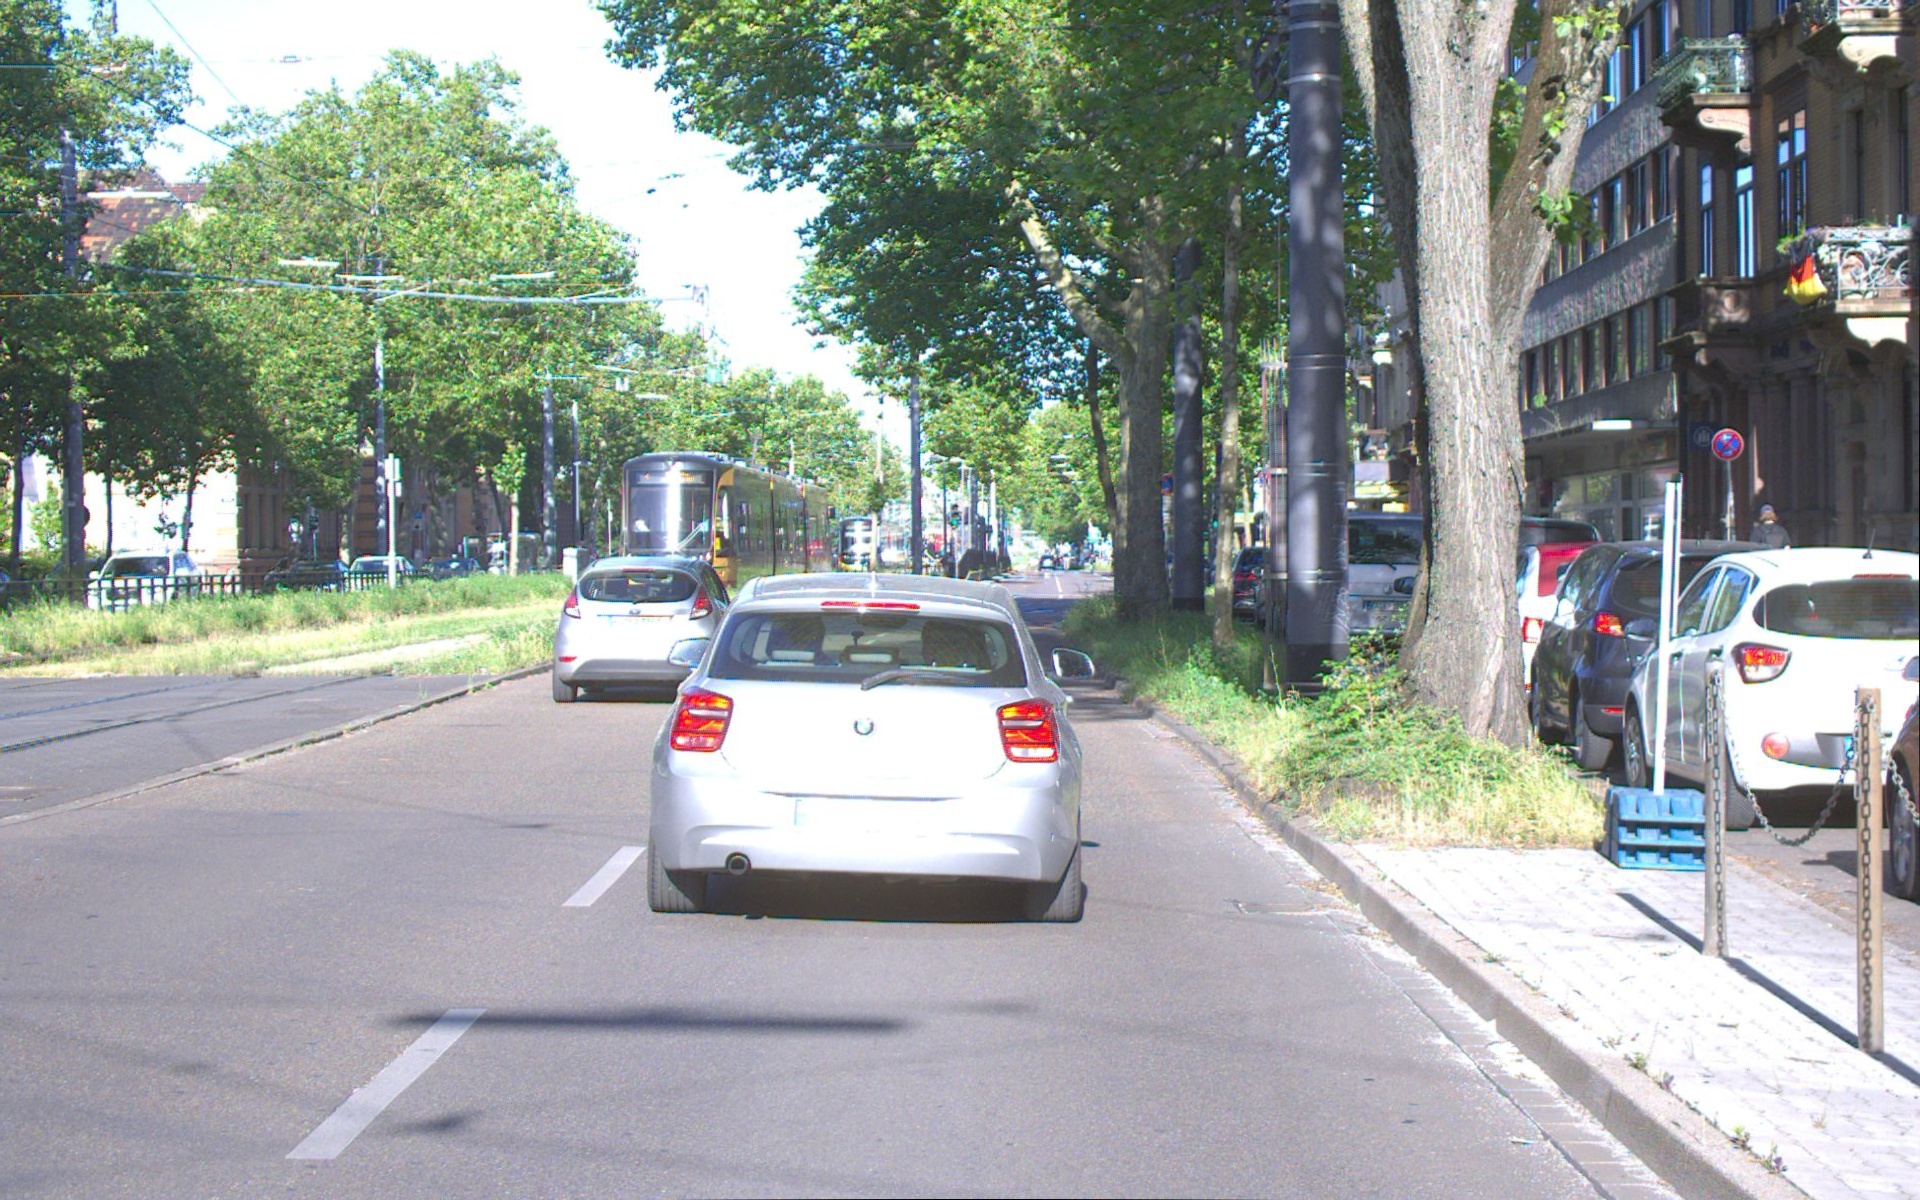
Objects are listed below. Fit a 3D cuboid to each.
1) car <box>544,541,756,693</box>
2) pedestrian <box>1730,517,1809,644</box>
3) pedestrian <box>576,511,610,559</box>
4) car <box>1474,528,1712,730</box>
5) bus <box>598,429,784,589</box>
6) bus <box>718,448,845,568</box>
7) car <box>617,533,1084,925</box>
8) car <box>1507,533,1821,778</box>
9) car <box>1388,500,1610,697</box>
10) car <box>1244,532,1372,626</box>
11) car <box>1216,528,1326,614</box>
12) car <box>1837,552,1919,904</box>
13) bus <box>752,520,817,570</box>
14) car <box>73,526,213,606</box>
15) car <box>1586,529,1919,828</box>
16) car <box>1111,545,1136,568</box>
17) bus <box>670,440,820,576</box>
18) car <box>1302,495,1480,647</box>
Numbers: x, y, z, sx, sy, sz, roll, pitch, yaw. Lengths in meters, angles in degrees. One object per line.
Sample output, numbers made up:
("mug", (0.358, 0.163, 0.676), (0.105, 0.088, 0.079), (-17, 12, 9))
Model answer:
("car", (-3.082, 0.130, 34.802), (1.647, 1.358, 3.760), (2, 2, 2))
("pedestrian", (11.870, -0.288, 50.417), (1.000, 1.833, 0.715), (1, 1, 4))
("pedestrian", (-12.678, -2.245, 118.792), (1.176, 1.638, 0.893), (0, 0, -5))
("car", (5.088, 0.184, 27.986), (1.512, 1.475, 3.491), (2, 2, 5))
("bus", (-6.166, -2.136, 80.931), (2.869, 3.432, 13.217), (1, 1, 2))
("bus", (-5.360, -2.808, 105.444), (2.869, 3.432, 11.611), (1, 1, 2))
("car", (-0.392, 0.459, 15.287), (1.762, 1.427, 4.000), (2, 2, 1))
("car", (4.790, 0.317, 23.831), (1.562, 1.480, 3.787), (2, 2, 3))
("car", (4.951, -0.066, 32.044), (1.626, 1.662, 4.141), (2, 2, 4))
("car", (5.783, -0.372, 57.569), (1.677, 1.461, 4.670), (2, 1, 1))
("car", (5.751, -0.559, 64.038), (1.806, 1.484, 4.919), (2, 1, 3))
("car", (4.757, 0.577, 13.660), (1.589, 1.429, 3.905), (2, 2, 1))
("bus", (-13.374, -4.308, 263.707), (2.869, 3.616, 24.603), (0, 1, 2))
("car", (-17.837, -0.773, 75.289), (1.885, 1.614, 4.598), (2, 2, 1))
("car", (4.746, 0.376, 19.502), (1.626, 1.472, 3.698), (2, 2, -1))
("car", (11.510, -3.047, 242.218), (1.700, 1.529, 3.716), (2, 2, 2))
("bus", (-5.727, -2.482, 93.568), (2.869, 3.432, 12.215), (1, 1, 2))
("car", (5.544, -0.425, 44.766), (1.865, 1.809, 4.799), (2, 2, 3))
